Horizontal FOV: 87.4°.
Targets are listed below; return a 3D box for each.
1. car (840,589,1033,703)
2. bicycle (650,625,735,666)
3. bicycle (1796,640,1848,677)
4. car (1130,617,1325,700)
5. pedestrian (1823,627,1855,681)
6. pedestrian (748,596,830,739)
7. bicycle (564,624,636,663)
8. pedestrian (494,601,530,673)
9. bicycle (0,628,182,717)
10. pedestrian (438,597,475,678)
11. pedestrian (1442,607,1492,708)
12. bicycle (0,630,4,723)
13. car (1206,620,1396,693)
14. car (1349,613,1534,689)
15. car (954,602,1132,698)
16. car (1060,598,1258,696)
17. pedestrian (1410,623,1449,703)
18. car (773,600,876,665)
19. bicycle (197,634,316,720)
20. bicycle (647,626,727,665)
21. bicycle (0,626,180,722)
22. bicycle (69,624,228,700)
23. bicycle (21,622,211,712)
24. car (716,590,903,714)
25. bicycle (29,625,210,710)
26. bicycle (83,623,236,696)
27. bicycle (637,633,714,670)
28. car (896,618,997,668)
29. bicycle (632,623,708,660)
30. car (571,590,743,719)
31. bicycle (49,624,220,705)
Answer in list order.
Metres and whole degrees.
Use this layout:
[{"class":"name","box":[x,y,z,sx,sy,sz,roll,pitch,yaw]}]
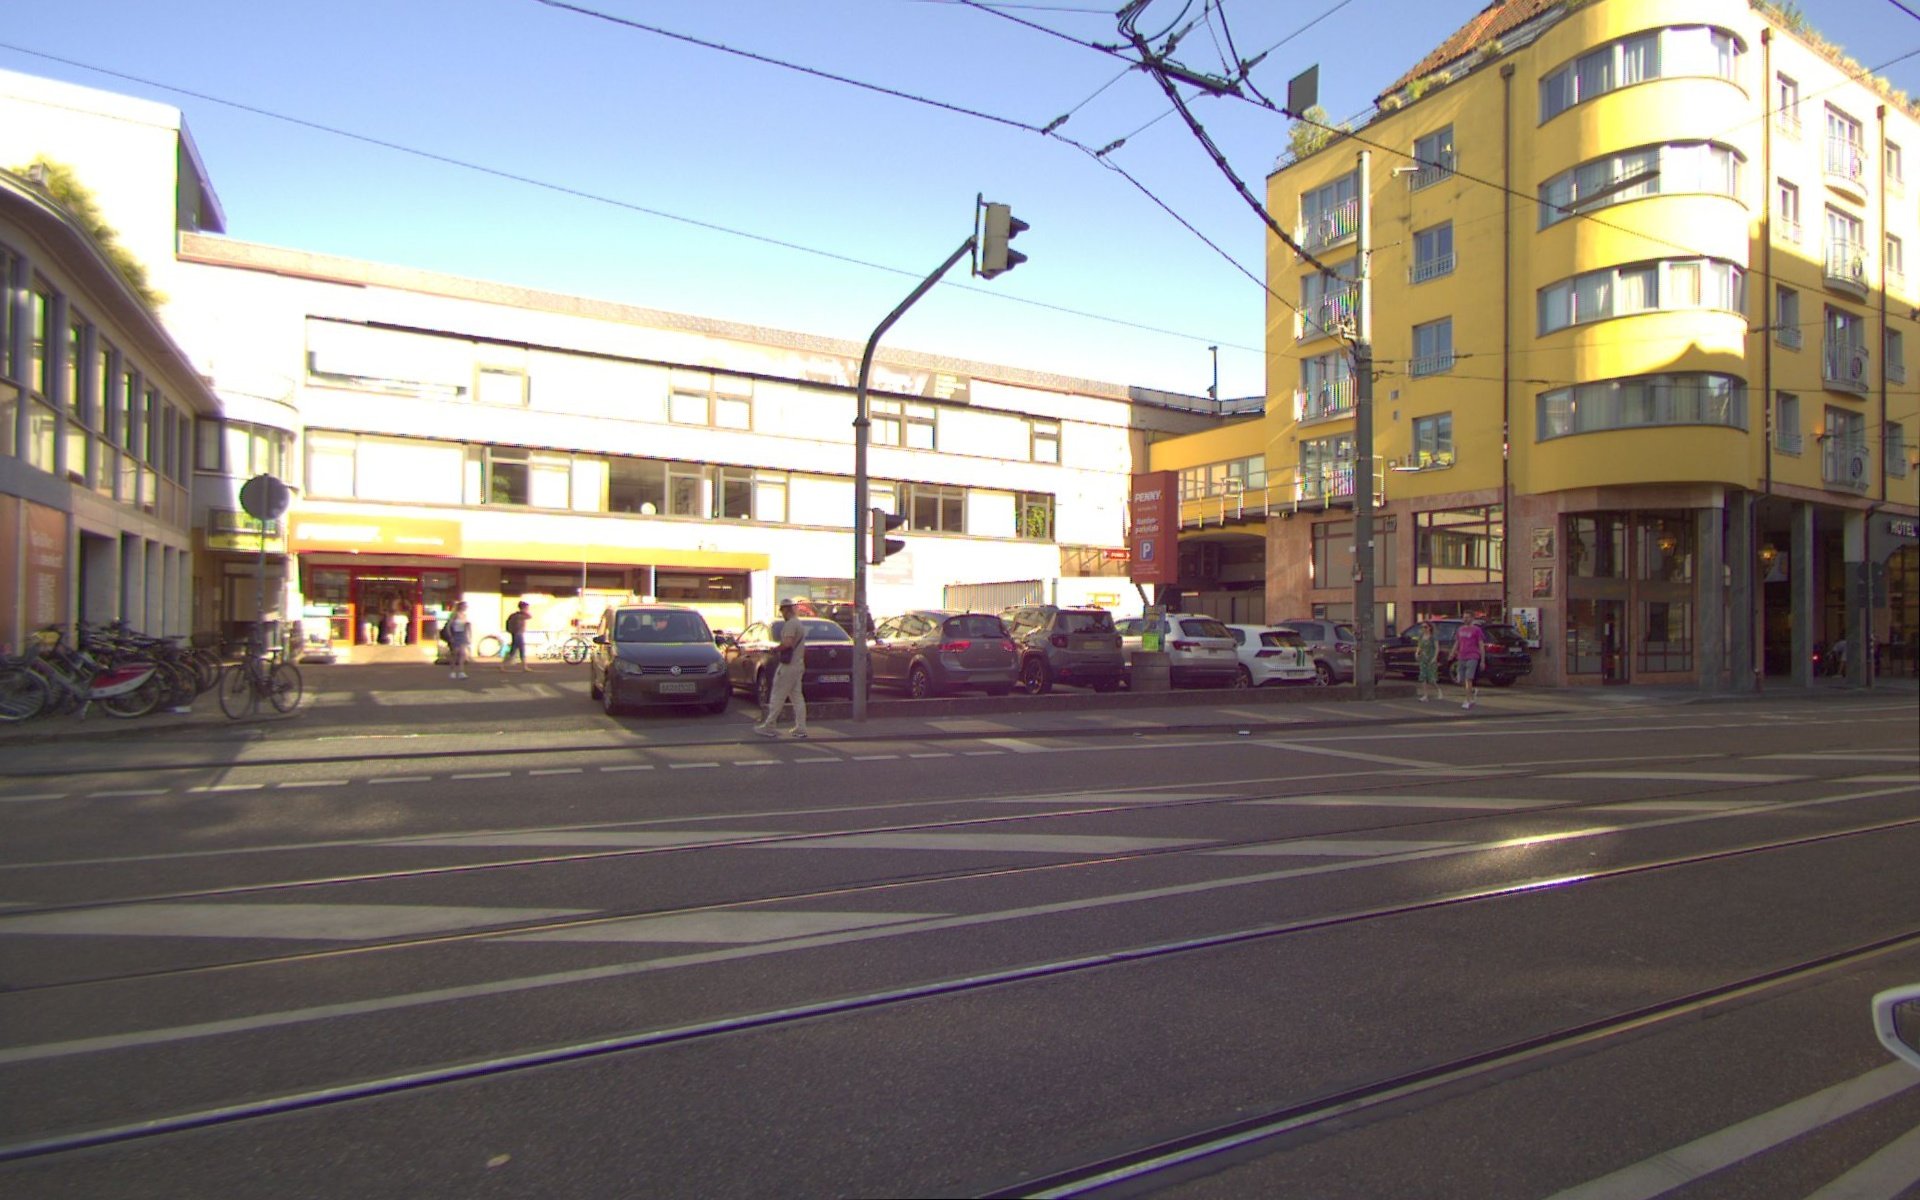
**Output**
[{"class":"car","box":[-0.565,0.778,18.371,1.764,1.836,4.215,1,-1,-29]},{"class":"bicycle","box":[-6.831,1.156,25.731,2.040,1.028,0.506,1,-1,-33]},{"class":"bicycle","box":[29.763,2.007,34.669,2.053,1.219,0.579,1,-1,-26]},{"class":"car","box":[5.826,1.223,22.349,1.764,1.631,4.214,1,-1,-29]},{"class":"pedestrian","box":[29.683,1.809,33.916,0.713,1.793,0.559,1,-1,-26]},{"class":"pedestrian","box":[-2.258,0.863,13.231,0.773,1.787,0.708,1,1,-37]},{"class":"bicycle","box":[-9.763,1.176,27.237,1.802,1.028,0.366,1,-1,-27]},{"class":"pedestrian","box":[-10.551,0.857,23.647,0.683,1.656,0.635,1,-1,-30]},{"class":"bicycle","box":[-10.961,0.884,12.619,1.862,1.050,0.460,1,-1,-38]},{"class":"pedestrian","box":[-10.824,0.807,21.607,0.647,1.718,0.478,1,-1,-32]},{"class":"pedestrian","box":[10.146,1.136,20.115,0.701,1.972,0.634,1,-1,-31]},{"class":"bicycle","box":[-11.520,0.852,10.705,1.862,1.050,0.520,1,-1,-38]},{"class":"car","box":[8.000,1.326,23.945,1.764,1.568,4.215,3,-3,-29]},{"class":"car","box":[12.670,1.285,26.704,1.764,1.836,4.214,1,-1,-29]},{"class":"car","box":[1.530,0.911,19.769,1.764,1.695,3.673,1,-1,-29]},{"class":"car","box":[4.057,0.984,21.123,1.764,1.835,4.215,3,-3,-29]},{"class":"pedestrian","box":[9.837,1.307,21.064,0.493,1.638,0.569,1,-1,-31]},{"class":"car","box":[-3.969,0.911,29.044,1.677,1.772,3.559,1,-1,-31]},{"class":"bicycle","box":[-9.458,1.001,13.586,0.417,1.050,1.878,0,-1,-5]},{"class":"bicycle","box":[-7.483,1.254,27.588,2.040,1.028,0.501,2,-1,-33]},{"class":"bicycle","box":[-10.647,0.870,12.168,1.862,1.094,0.460,1,-1,-38]},{"class":"bicycle","box":[-12.376,0.925,15.385,1.863,1.091,0.459,1,-1,-39]},{"class":"bicycle","box":[-11.031,0.859,13.211,1.862,1.101,0.460,2,-1,-38]},{"class":"car","box":[-2.699,0.807,17.137,1.764,1.836,4.214,1,-1,-29]},{"class":"bicycle","box":[-11.403,0.894,13.708,1.862,1.091,0.460,1,-1,-38]},{"class":"bicycle","box":[-12.641,0.916,15.924,1.863,1.091,0.459,1,-1,-39]},{"class":"bicycle","box":[-8.039,1.450,28.456,2.040,1.028,0.492,1,-1,-33]},{"class":"car","box":[-0.497,1.342,32.273,1.677,1.499,3.559,2,-1,-31]},{"class":"bicycle","box":[-8.400,1.199,29.126,2.040,1.028,0.501,2,-1,-33]},{"class":"car","box":[-4.989,0.759,16.154,1.764,1.787,4.214,1,0,-29]},{"class":"bicycle","box":[-11.828,0.899,14.462,1.863,1.091,0.459,1,-1,-39]}]
